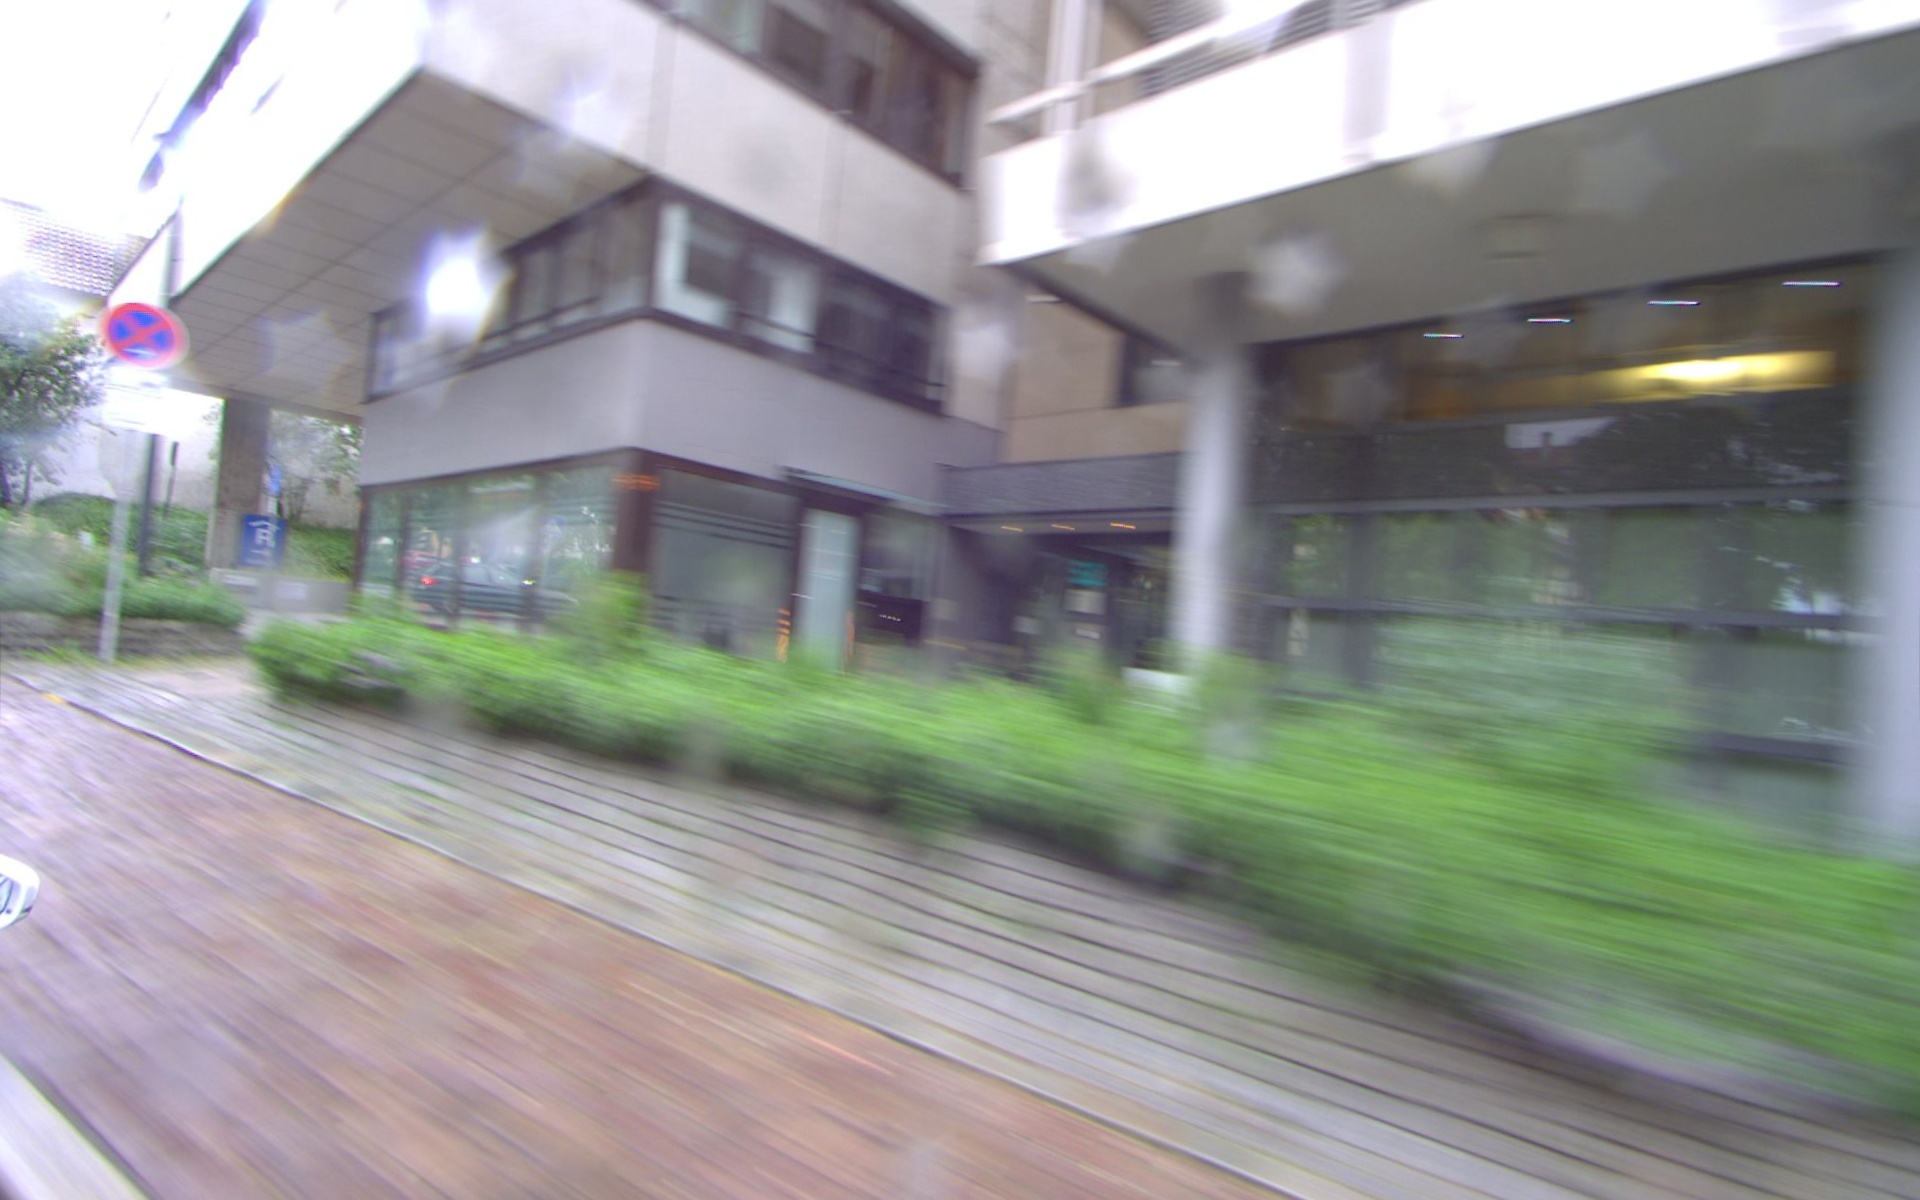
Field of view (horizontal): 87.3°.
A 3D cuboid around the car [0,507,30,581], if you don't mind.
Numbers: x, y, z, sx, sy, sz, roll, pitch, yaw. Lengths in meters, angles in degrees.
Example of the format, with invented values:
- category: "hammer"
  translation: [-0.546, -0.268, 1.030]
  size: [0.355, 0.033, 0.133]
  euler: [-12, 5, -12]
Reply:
- category: "car"
  translation: [-20.997, -1.422, 19.251]
  size: [1.810, 1.432, 4.291]
  euler: [7, -2, 33]
